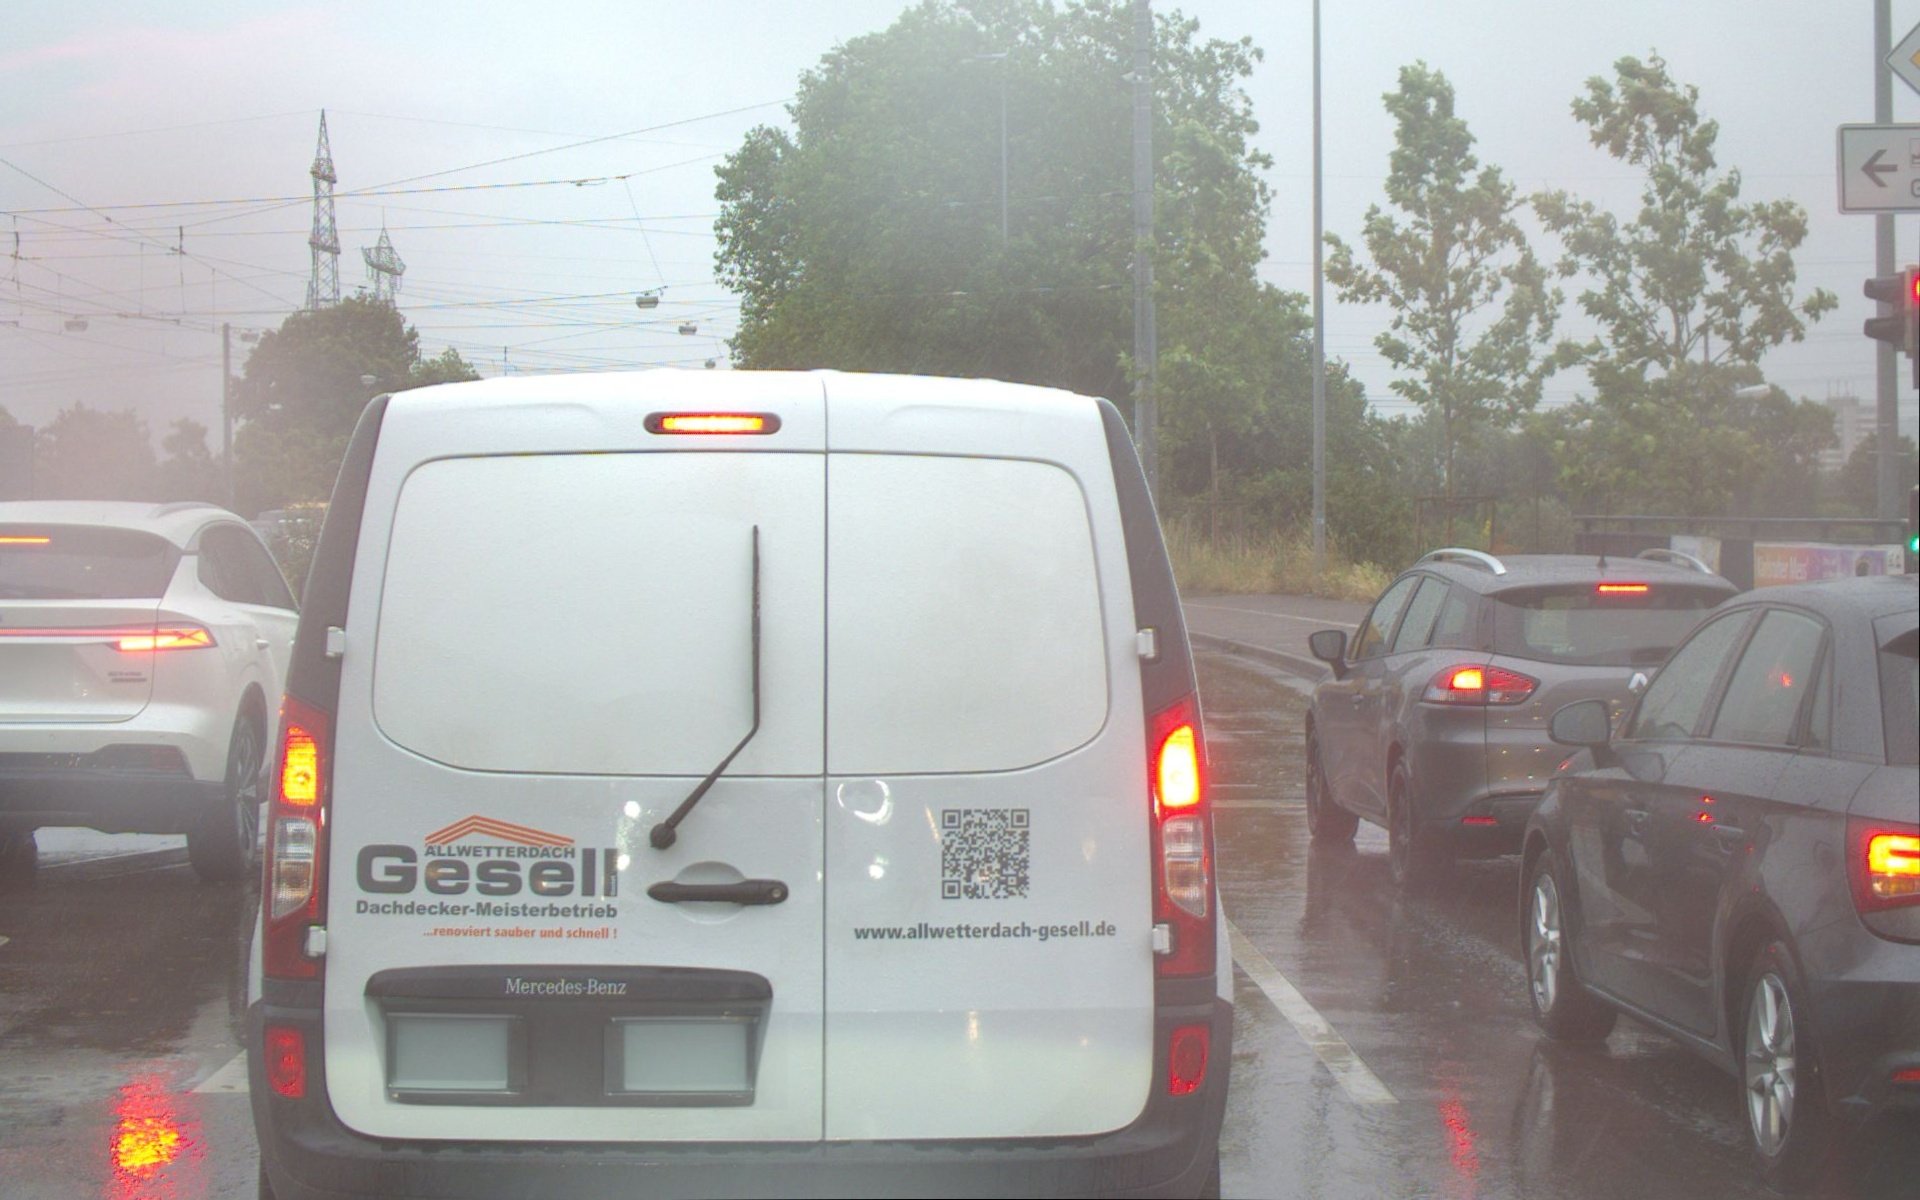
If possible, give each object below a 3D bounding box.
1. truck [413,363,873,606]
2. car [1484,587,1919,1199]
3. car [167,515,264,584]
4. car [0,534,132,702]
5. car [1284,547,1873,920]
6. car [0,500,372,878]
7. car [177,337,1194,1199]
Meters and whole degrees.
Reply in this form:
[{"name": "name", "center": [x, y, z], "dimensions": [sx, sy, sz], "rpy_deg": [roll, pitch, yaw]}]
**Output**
[{"name": "truck", "center": [-3.831, -1.374, 43.569], "dimensions": [2.636, 2.806, 7.136], "rpy_deg": [1, 1, 24]}, {"name": "car", "center": [2.510, 0.663, 8.934], "dimensions": [1.629, 1.340, 3.624], "rpy_deg": [1, 1, -2]}, {"name": "car", "center": [-22.475, -1.513, 103.879], "dimensions": [1.993, 2.007, 4.000], "rpy_deg": [1, 1, 1]}, {"name": "car", "center": [-10.492, 0.161, 34.203], "dimensions": [4.067, 1.654, 1.620], "rpy_deg": [0, 1, -34]}, {"name": "car", "center": [2.635, 0.503, 15.546], "dimensions": [1.859, 1.424, 3.808], "rpy_deg": [1, 1, -2]}, {"name": "car", "center": [-3.945, 0.305, 16.155], "dimensions": [1.728, 1.530, 4.298], "rpy_deg": [1, 1, -2]}, {"name": "car", "center": [-0.446, 0.463, 7.317], "dimensions": [1.566, 1.782, 4.000], "rpy_deg": [0, 1, -1]}]
